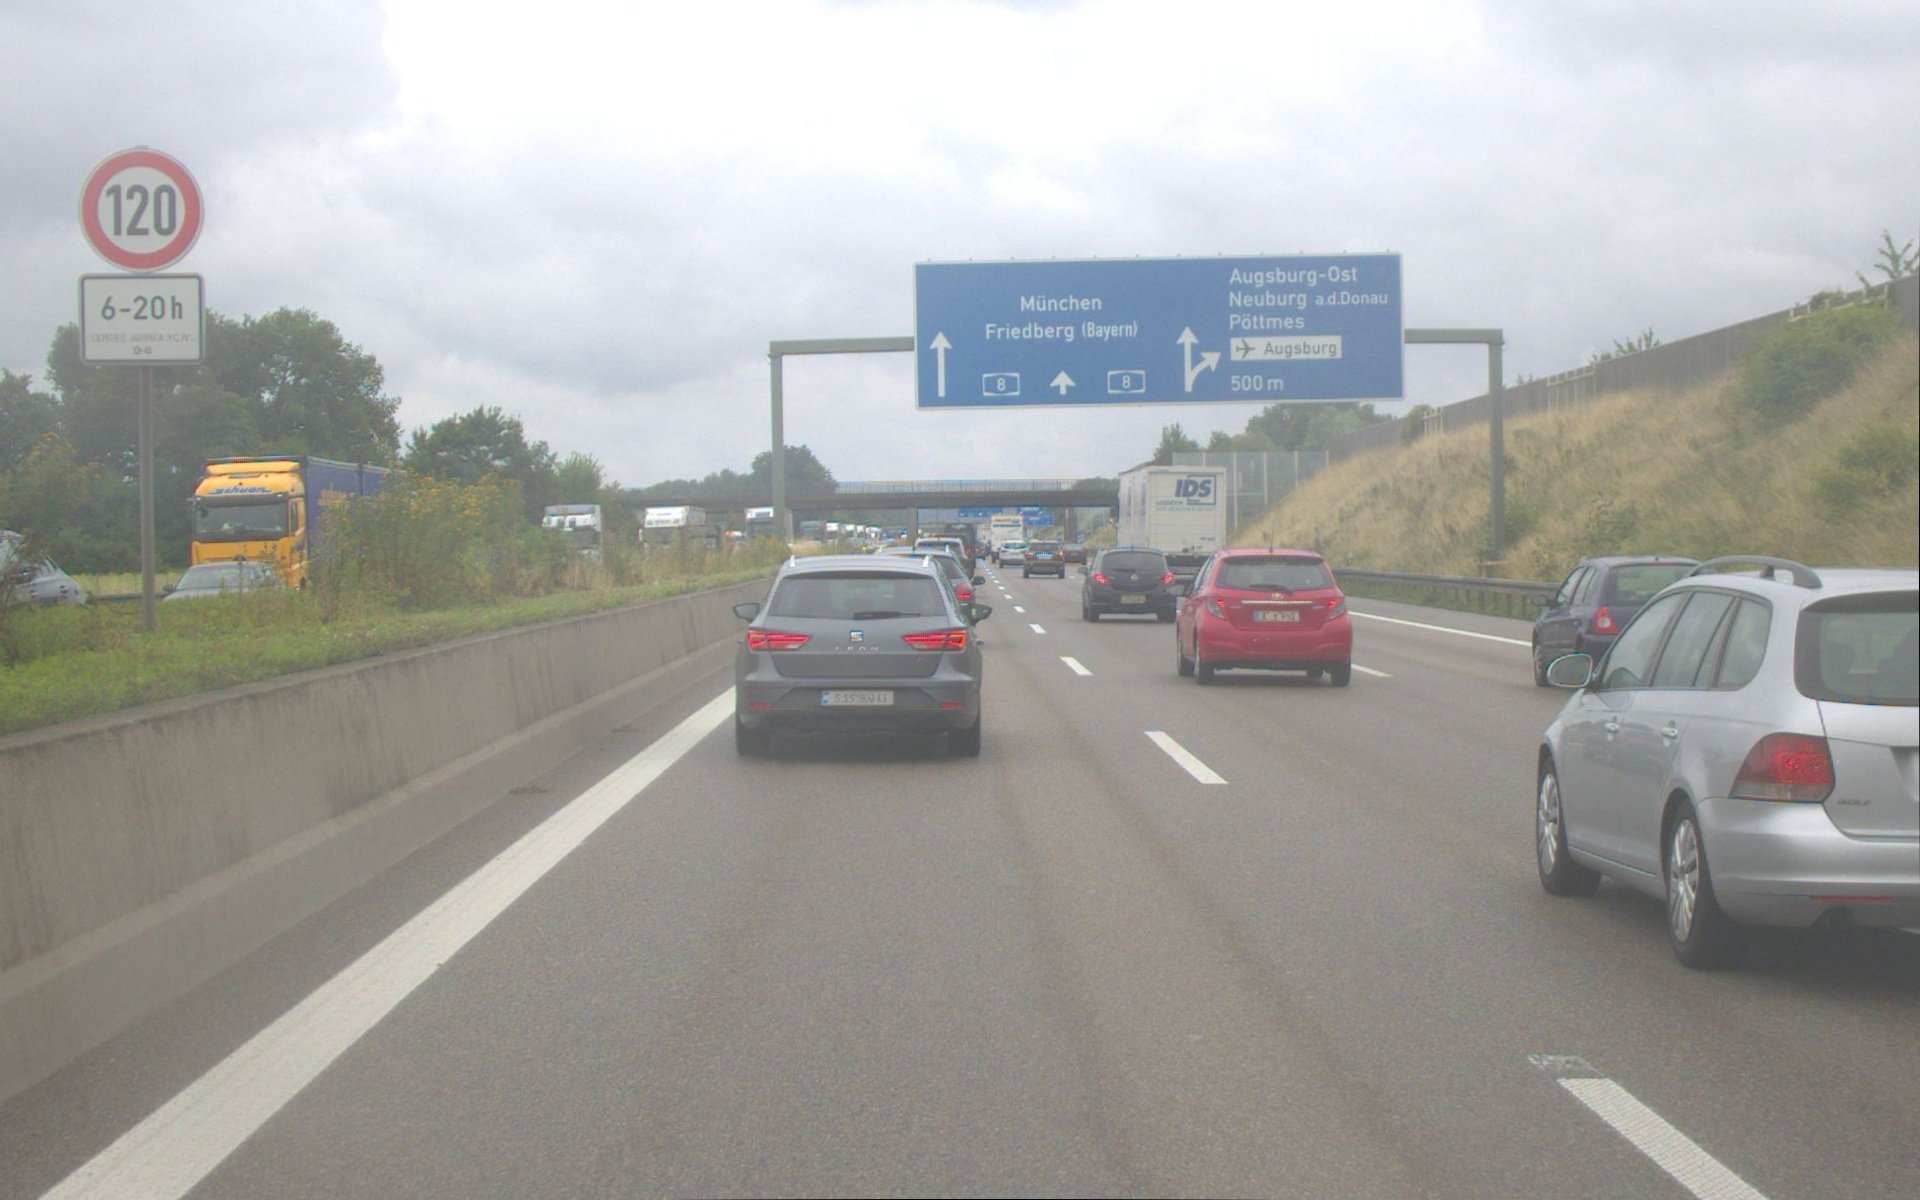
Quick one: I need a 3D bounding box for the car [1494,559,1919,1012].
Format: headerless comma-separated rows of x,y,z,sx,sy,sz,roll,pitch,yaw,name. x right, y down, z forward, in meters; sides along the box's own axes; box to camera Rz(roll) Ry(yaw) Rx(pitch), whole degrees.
3.333,0.574,13.380,1.742,1.420,4.517,-1,1,-1,car

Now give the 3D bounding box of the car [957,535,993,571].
0.849,-2.674,195.943,1.993,2.007,4.242,1,1,0,car

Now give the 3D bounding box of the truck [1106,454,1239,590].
7.164,-2.579,118.873,3.283,4.280,19.034,1,1,0,truck

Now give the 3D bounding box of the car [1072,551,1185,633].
3.255,-0.183,67.179,1.921,1.516,4.622,0,1,-1,car

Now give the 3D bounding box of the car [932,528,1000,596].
0.153,-1.070,96.057,1.704,1.790,3.855,-2,1,-2,car

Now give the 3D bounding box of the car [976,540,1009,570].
2.228,-3.101,237.440,1.993,2.007,4.001,-1,1,-3,car

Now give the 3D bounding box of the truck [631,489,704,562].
-17.494,-4.435,205.839,3.615,4.260,7.591,1,1,0,truck

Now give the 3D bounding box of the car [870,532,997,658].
-0.392,-0.091,50.092,1.754,1.744,4.000,1,1,-1,car

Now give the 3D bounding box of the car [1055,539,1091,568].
7.375,-3.066,224.461,1.993,1.853,4.391,0,1,-3,car

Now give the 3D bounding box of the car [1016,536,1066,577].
3.415,-1.849,145.718,1.845,1.681,4.000,1,1,-2,car

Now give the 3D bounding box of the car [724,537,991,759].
-0.737,0.300,25.065,1.768,1.462,4.000,1,1,-1,car

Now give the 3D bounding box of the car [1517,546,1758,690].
7.006,0.155,35.878,1.702,1.396,3.875,1,1,0,car

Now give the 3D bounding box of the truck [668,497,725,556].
-13.549,-3.759,177.403,2.311,2.898,7.424,1,1,0,truck

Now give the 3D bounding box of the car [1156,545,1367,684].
3.326,0.120,38.742,1.891,1.442,4.685,0,1,-1,car

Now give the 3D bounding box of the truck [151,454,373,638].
-17.702,-1.357,88.081,3.412,4.349,10.991,1,1,0,truck
